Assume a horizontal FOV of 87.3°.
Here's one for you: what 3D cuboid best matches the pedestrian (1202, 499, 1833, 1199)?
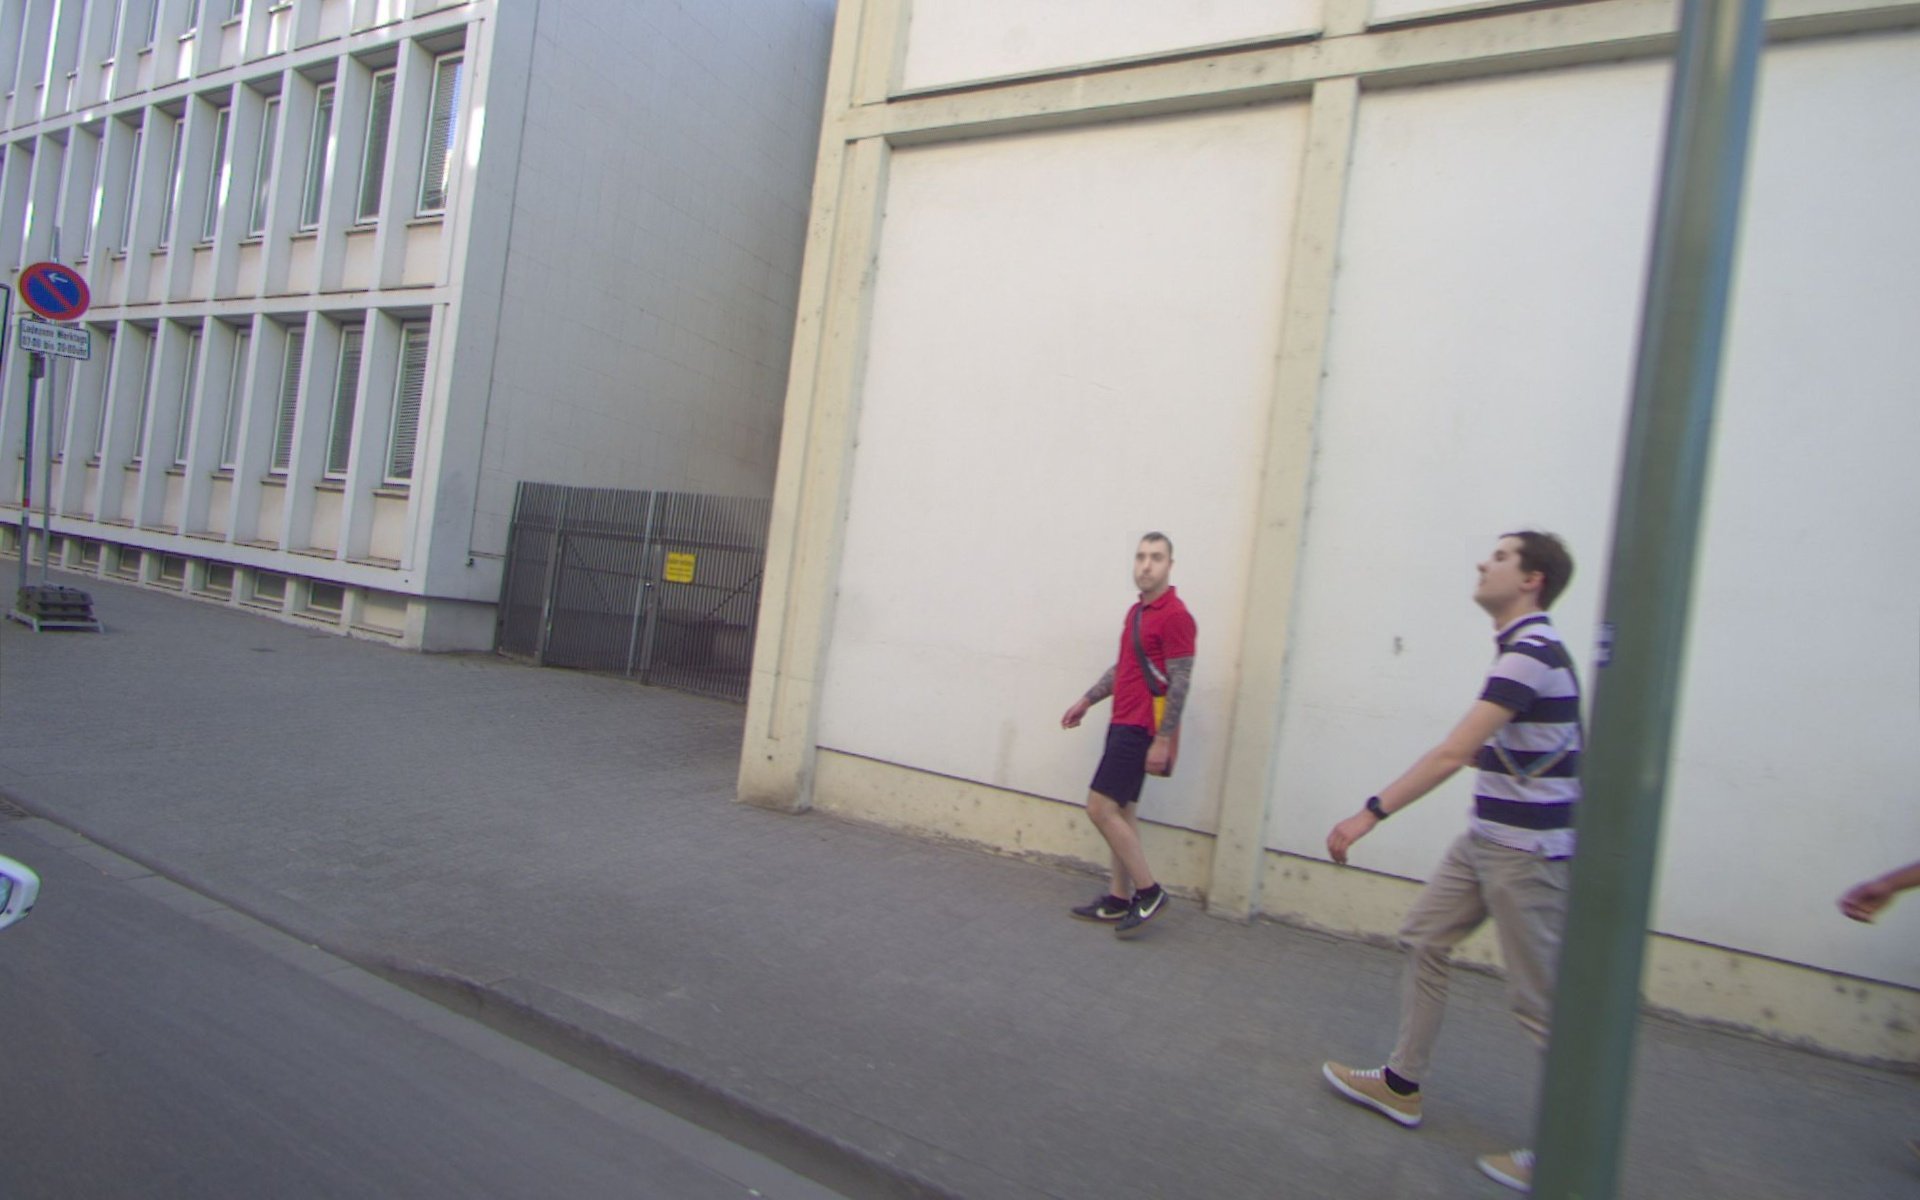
[{"bbox_3d":[1.498,0.698,2.909,1.225,1.826,0.715,7,3,28],"label":"pedestrian"}]

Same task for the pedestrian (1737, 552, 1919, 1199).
[{"bbox_3d":[2.673,0.844,2.453,0.925,1.801,0.709,7,3,28],"label":"pedestrian"}]

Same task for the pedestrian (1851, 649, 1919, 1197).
[{"bbox_3d":[3.433,0.911,2.924,0.925,1.801,0.709,7,3,28],"label":"pedestrian"}]

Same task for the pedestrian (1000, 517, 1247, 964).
[{"bbox_3d":[0.770,0.586,4.669,0.762,1.826,0.709,7,3,28],"label":"pedestrian"}]
